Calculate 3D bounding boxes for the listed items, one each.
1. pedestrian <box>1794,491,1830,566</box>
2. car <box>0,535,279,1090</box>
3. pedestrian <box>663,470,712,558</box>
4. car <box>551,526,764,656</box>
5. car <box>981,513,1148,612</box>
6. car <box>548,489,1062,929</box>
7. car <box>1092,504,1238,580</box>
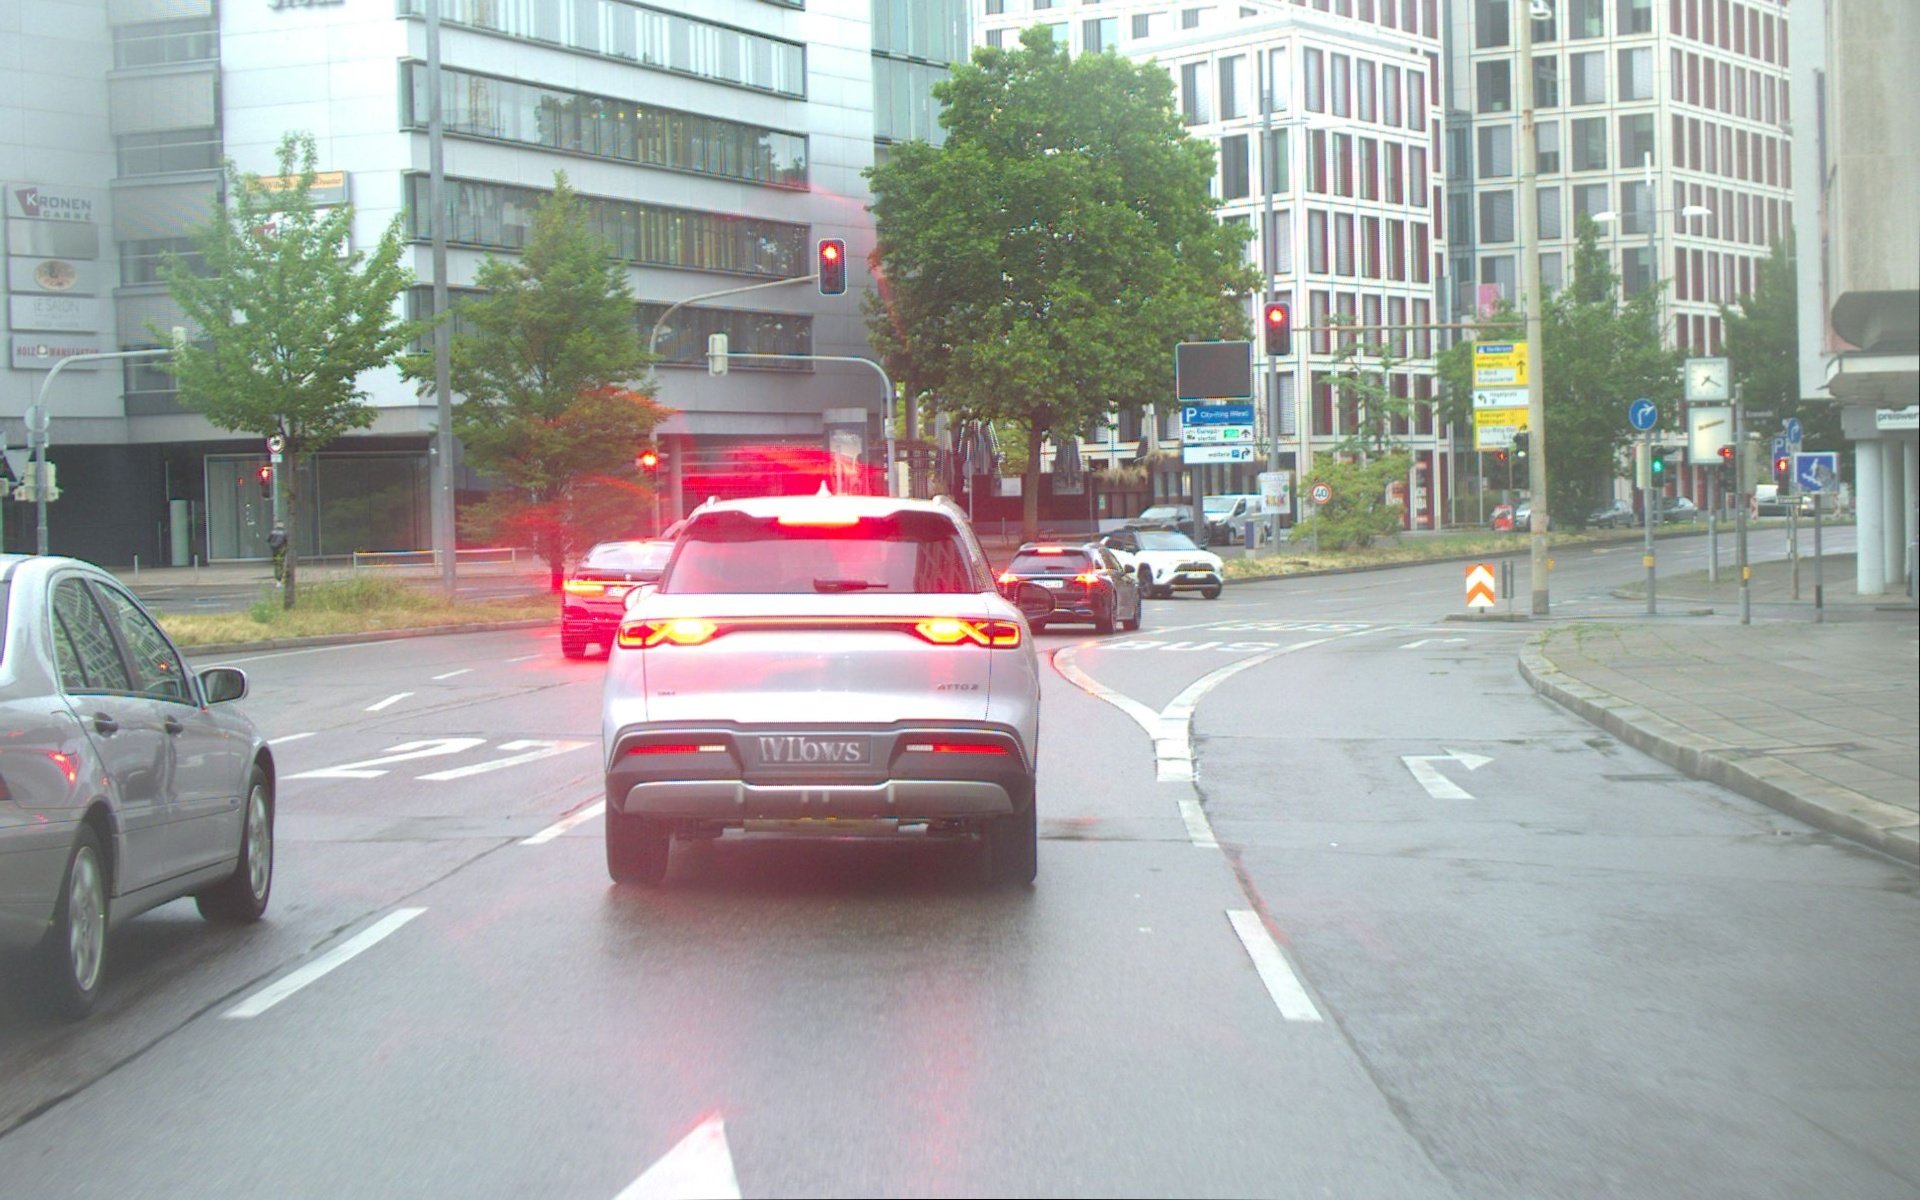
[{"bbox_3d":[19.008,-1.601,76.719,0.728,1.663,0.690,0,1,18],"label":"pedestrian"},{"bbox_3d":[-3.514,0.557,11.566,1.682,1.481,4.197,-1,2,-1],"label":"car"},{"bbox_3d":[-5.388,-1.703,67.981,0.922,1.732,0.730,-1,2,-2],"label":"pedestrian"},{"bbox_3d":[-3.780,-0.151,43.591,1.955,1.524,3.999,0,2,6],"label":"car"},{"bbox_3d":[1.744,-0.642,55.992,1.956,1.524,3.998,0,2,13],"label":"car"},{"bbox_3d":[-0.654,0.357,15.698,1.993,1.703,4.483,-1,2,-1],"label":"car"},{"bbox_3d":[4.896,-1.415,82.680,1.993,1.744,4.533,-1,2,-18],"label":"car"}]
